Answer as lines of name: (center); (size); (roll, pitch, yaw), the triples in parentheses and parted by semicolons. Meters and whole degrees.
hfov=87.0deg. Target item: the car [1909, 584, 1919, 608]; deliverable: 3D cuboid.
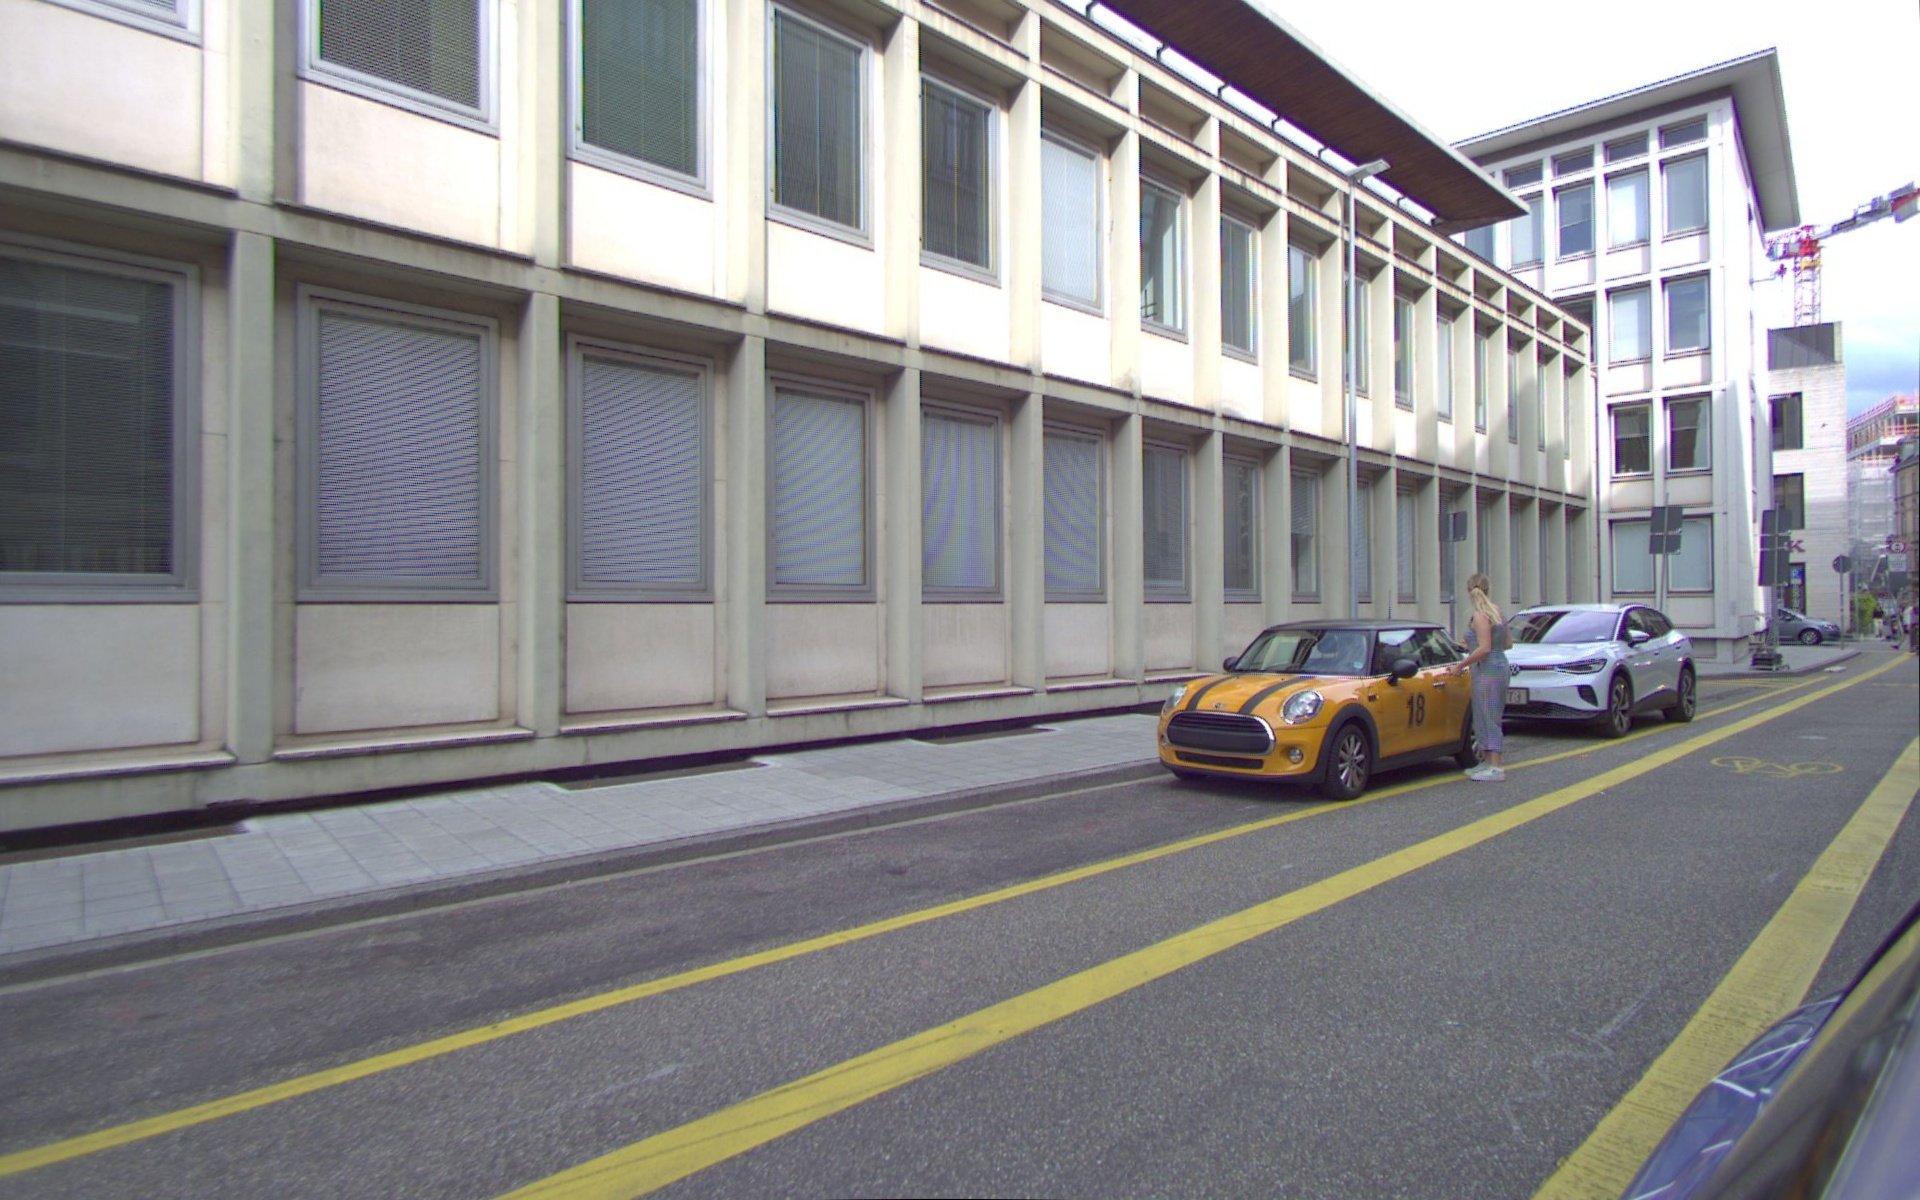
car: (61.507, -0.274, 64.159); (1.581, 1.505, 3.946); (-1, 0, 38)

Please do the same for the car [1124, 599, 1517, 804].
car: (3.423, 0.778, 9.299); (3.818, 1.453, 1.682); (-1, -2, -41)

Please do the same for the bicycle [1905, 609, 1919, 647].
bicycle: (31.119, 0.908, 32.155); (0.863, 1.209, 2.836); (-1, 0, 28)

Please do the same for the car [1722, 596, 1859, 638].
car: (33.800, 0.671, 41.247); (1.786, 1.610, 4.183); (-1, 0, -45)

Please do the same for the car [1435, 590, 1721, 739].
car: (8.285, 0.755, 13.416); (4.432, 1.626, 1.863); (-1, -3, -40)

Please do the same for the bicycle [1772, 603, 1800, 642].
bicycle: (26.009, 0.691, 31.861); (0.588, 1.182, 1.787); (-1, 0, 42)

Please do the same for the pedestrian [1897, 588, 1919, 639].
pedestrian: (33.530, 0.475, 35.637); (0.639, 1.788, 0.646); (-1, -1, 35)

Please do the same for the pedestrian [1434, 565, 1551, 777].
pedestrian: (4.750, 0.594, 9.027); (0.693, 1.786, 0.699); (0, 0, -39)
